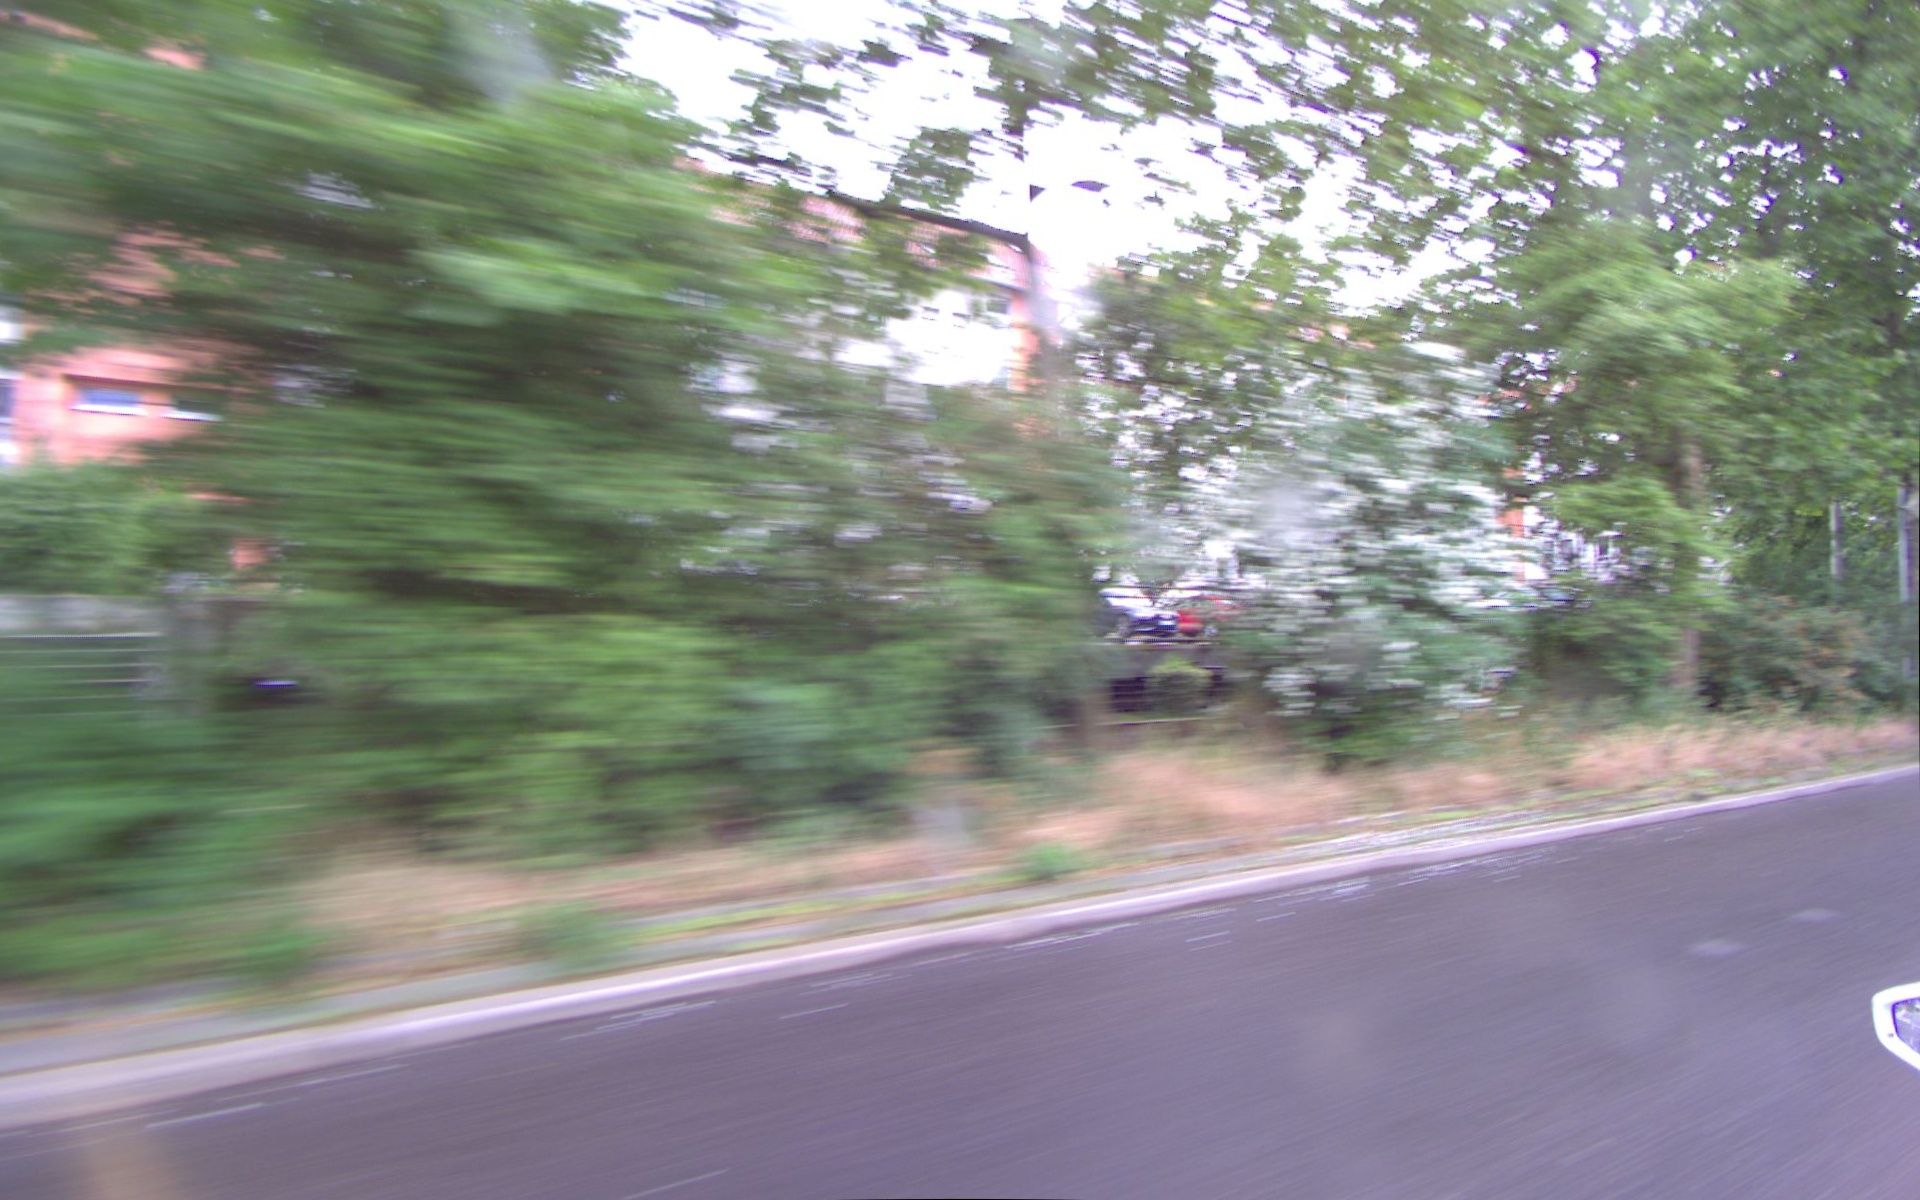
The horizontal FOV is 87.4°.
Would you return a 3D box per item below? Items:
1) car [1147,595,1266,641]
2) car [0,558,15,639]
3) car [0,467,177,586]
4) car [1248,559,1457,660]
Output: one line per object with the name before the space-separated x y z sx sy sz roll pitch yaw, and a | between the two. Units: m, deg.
car | 8.210 0.619 33.772 1.645 1.450 3.969 1 -2 -30
car | -18.243 -0.070 17.547 1.699 1.531 3.790 3 -2 -31
car | -14.520 -1.116 16.840 1.699 1.622 3.790 3 -2 -31
car | 8.695 0.222 22.554 1.703 2.040 4.138 1 -1 -36
